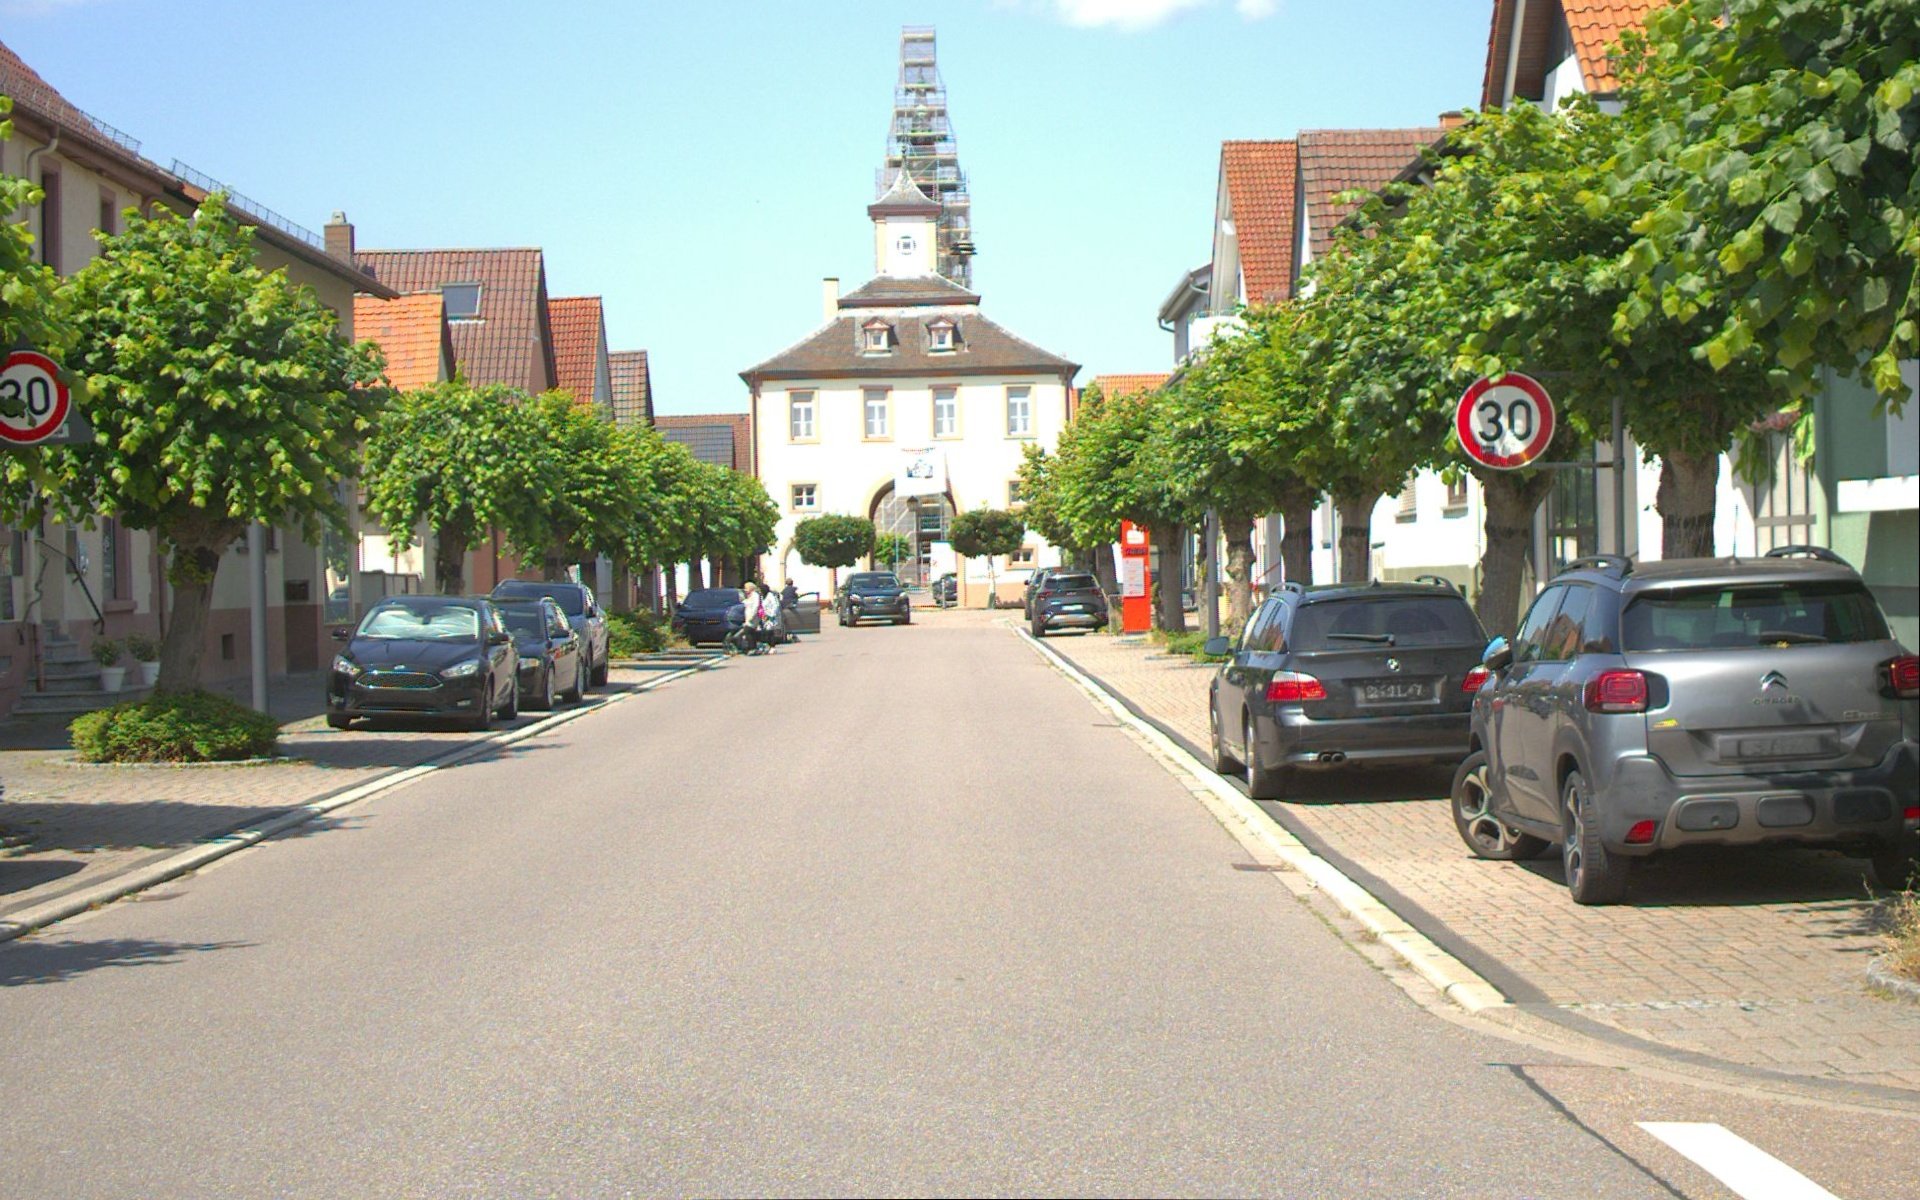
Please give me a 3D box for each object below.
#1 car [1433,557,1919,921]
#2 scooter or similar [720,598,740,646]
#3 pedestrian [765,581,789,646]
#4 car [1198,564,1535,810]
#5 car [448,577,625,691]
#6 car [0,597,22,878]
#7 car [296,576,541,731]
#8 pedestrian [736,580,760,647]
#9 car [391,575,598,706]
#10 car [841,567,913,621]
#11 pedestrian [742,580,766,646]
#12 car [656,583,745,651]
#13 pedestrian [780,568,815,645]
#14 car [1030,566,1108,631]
[{"bbox_3d":[3.640,0.603,17.365,1.837,1.602,4.000,-1,0,-1],"label":"car"},{"bbox_3d":[-4.877,0.471,73.009,0.330,0.999,0.241,-1,0,37],"label":"scooter or similar"},{"bbox_3d":[-3.918,0.288,73.466,0.358,1.398,0.319,-1,0,37],"label":"pedestrian"},{"bbox_3d":[2.848,0.562,24.976,1.837,1.550,4.314,-3,0,0],"label":"car"},{"bbox_3d":[-6.337,0.470,51.957,1.993,1.606,4.689,-1,0,1],"label":"car"},{"bbox_3d":[-6.530,0.794,17.800,1.993,1.606,4.689,1,0,1],"label":"car"},{"bbox_3d":[-6.109,0.559,39.316,1.993,1.606,4.689,1,1,1],"label":"car"},{"bbox_3d":[-4.457,0.276,72.328,0.358,1.398,0.319,-1,0,37],"label":"pedestrian"},{"bbox_3d":[-6.027,0.508,45.015,1.993,1.606,4.688,1,0,1],"label":"car"},{"bbox_3d":[-2.577,-0.179,105.845,1.993,1.606,4.506,1,0,-4],"label":"car"},{"bbox_3d":[-4.384,0.281,73.208,0.358,1.398,0.319,-1,0,37],"label":"pedestrian"},{"bbox_3d":[-6.179,0.384,82.143,1.757,1.550,4.020,-1,0,0],"label":"car"},{"bbox_3d":[-4.264,0.163,90.161,0.832,2.007,0.887,1,0,-8],"label":"pedestrian"},{"bbox_3d":[2.758,-0.056,87.804,1.837,1.550,4.313,-3,0,0],"label":"car"}]
